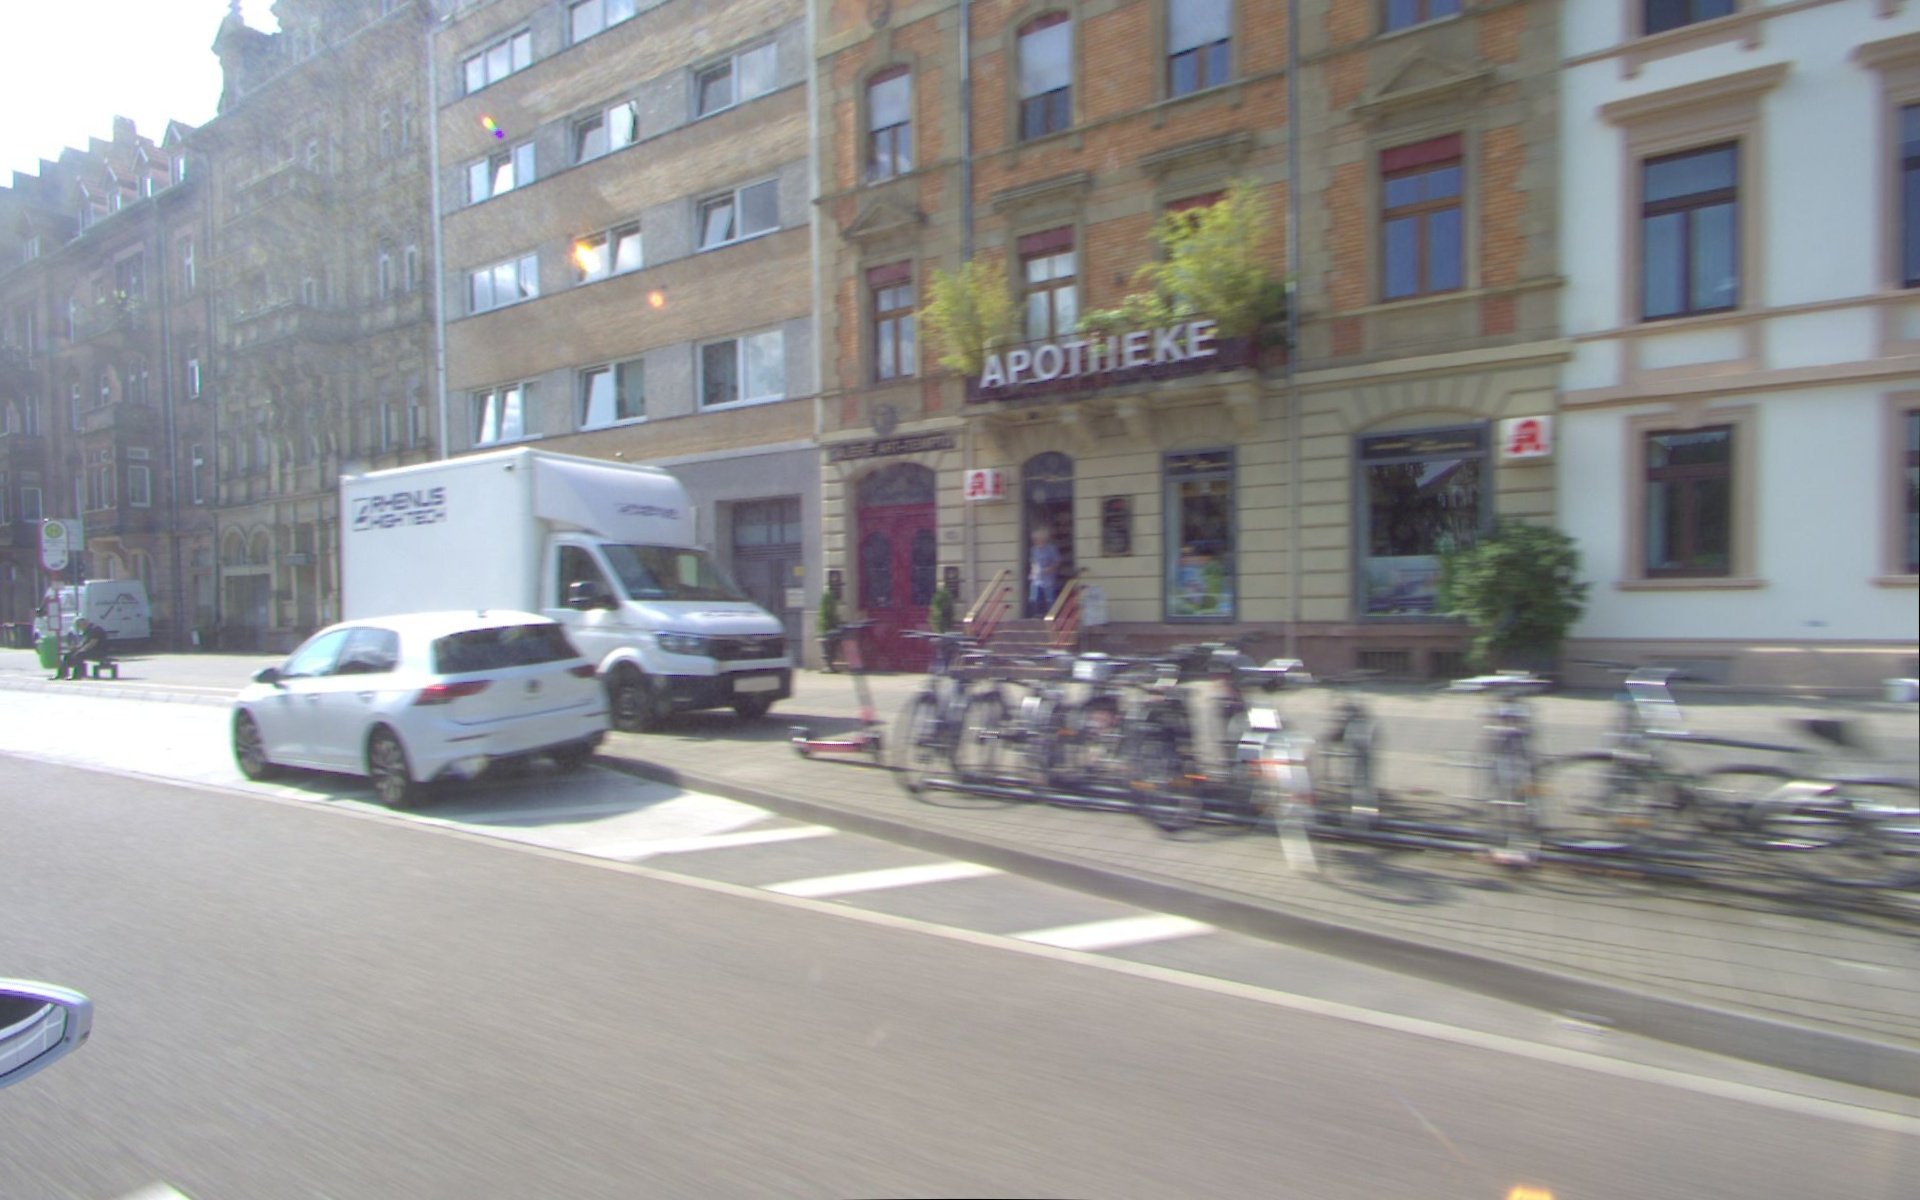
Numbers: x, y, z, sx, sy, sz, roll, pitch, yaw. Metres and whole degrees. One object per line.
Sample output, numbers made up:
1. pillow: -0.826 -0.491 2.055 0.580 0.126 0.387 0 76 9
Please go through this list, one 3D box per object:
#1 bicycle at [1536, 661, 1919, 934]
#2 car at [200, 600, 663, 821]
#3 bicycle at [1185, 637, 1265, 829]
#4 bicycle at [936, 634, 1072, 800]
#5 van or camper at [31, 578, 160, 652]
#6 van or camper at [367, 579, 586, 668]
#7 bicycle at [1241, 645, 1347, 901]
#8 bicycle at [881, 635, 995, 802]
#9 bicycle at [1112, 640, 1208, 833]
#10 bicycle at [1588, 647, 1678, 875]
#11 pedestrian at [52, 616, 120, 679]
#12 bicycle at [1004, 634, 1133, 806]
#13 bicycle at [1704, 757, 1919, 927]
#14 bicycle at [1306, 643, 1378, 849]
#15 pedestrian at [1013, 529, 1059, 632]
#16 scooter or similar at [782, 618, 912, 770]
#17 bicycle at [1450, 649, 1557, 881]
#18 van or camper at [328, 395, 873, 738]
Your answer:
1. bicycle: 3.709 0.870 4.677 1.738 1.085 0.370 1 0 32
2. car: -4.843 0.839 8.989 4.284 1.457 1.785 -2 3 34
3. bicycle: 1.848 0.826 6.863 0.366 1.099 1.760 1 0 20
4. bicycle: 0.388 0.833 7.727 0.366 1.099 1.758 1 0 26
5. van or camper: -31.147 0.535 36.033 5.485 2.507 1.989 -1 1 32
6. van or camper: -11.698 0.539 24.160 5.215 1.931 1.991 -1 2 28
7. bicycle: 1.734 0.814 5.328 0.365 1.099 1.600 1 0 13
8. bicycle: -0.124 0.840 7.738 0.365 1.099 1.762 1 0 16
9. bicycle: 1.403 0.849 6.841 0.366 1.099 1.760 1 0 20
10. bicycle: 3.940 0.849 5.868 0.367 1.099 1.754 1 0 34
11. pedestrian: -18.916 1.022 21.681 0.806 1.333 0.745 0 -2 -6
12. bicycle: 0.856 0.824 7.483 0.366 1.099 1.758 1 0 26
13. bicycle: 4.614 1.114 4.797 1.737 0.594 0.638 -1 0 -8
14. bicycle: 2.491 0.855 6.475 0.366 1.099 1.759 1 0 22
15. pedestrian: 1.307 -0.333 17.182 0.605 1.721 0.588 0 2 29
16. scooter or similar: -0.991 0.778 8.632 1.237 1.229 0.367 -1 -2 41
17. bicycle: 3.179 0.860 5.796 0.367 1.099 1.754 1 0 34
18. van or camper: -4.950 -0.257 13.078 7.534 3.375 2.705 -1 0 34
